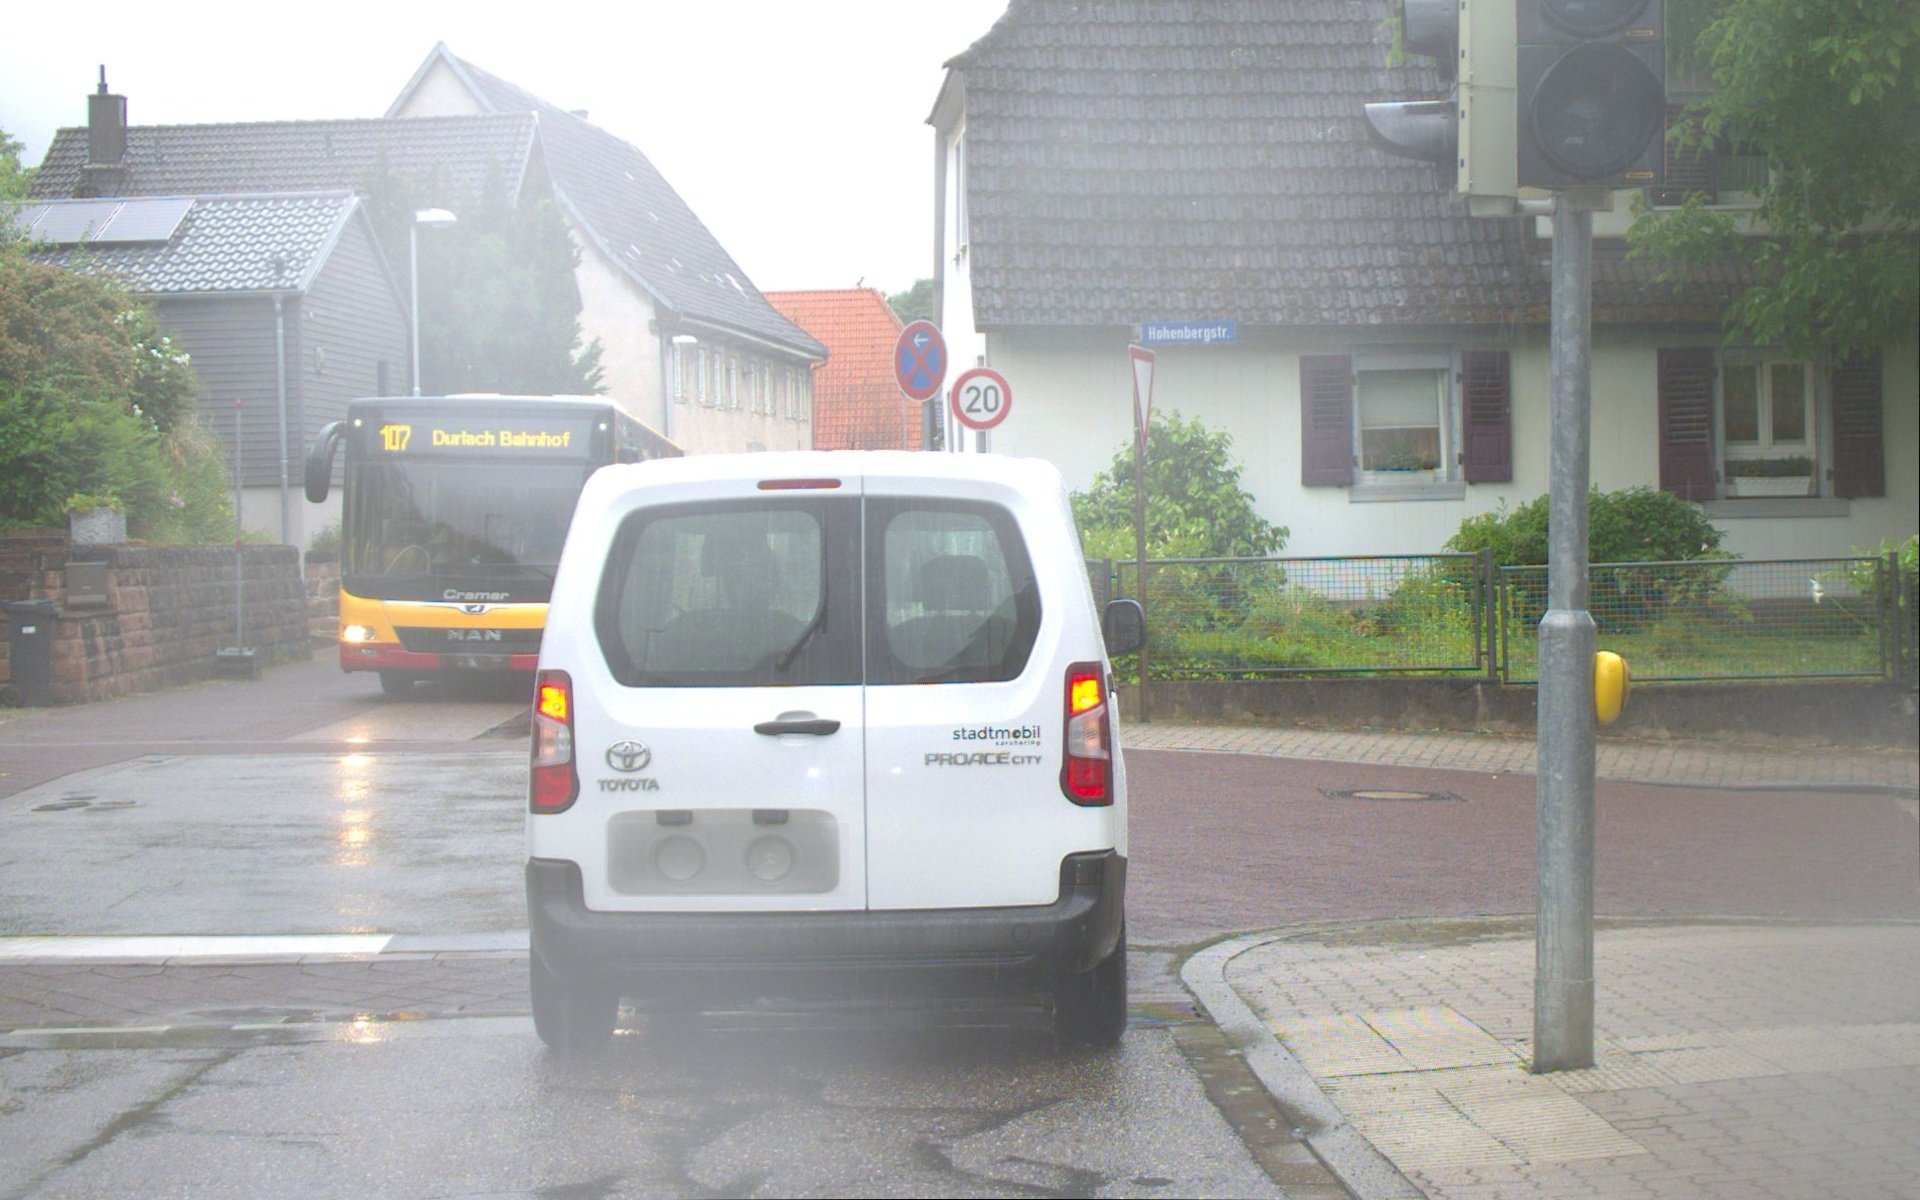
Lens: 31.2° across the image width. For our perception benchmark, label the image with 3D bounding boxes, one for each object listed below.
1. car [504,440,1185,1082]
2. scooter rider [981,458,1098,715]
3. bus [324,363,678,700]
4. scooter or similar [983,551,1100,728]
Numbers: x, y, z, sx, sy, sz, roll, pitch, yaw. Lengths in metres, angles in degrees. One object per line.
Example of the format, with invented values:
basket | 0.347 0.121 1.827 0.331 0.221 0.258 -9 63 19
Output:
car | -0.389 0.414 11.537 1.894 1.787 3.814 0 1 -2
scooter rider | 0.538 -0.102 23.536 0.731 1.727 0.518 -1 2 -6
bus | -4.569 -0.885 36.641 2.649 2.989 12.195 0 3 -2
scooter or similar | 0.546 0.251 23.471 0.620 1.123 1.402 0 3 -6
